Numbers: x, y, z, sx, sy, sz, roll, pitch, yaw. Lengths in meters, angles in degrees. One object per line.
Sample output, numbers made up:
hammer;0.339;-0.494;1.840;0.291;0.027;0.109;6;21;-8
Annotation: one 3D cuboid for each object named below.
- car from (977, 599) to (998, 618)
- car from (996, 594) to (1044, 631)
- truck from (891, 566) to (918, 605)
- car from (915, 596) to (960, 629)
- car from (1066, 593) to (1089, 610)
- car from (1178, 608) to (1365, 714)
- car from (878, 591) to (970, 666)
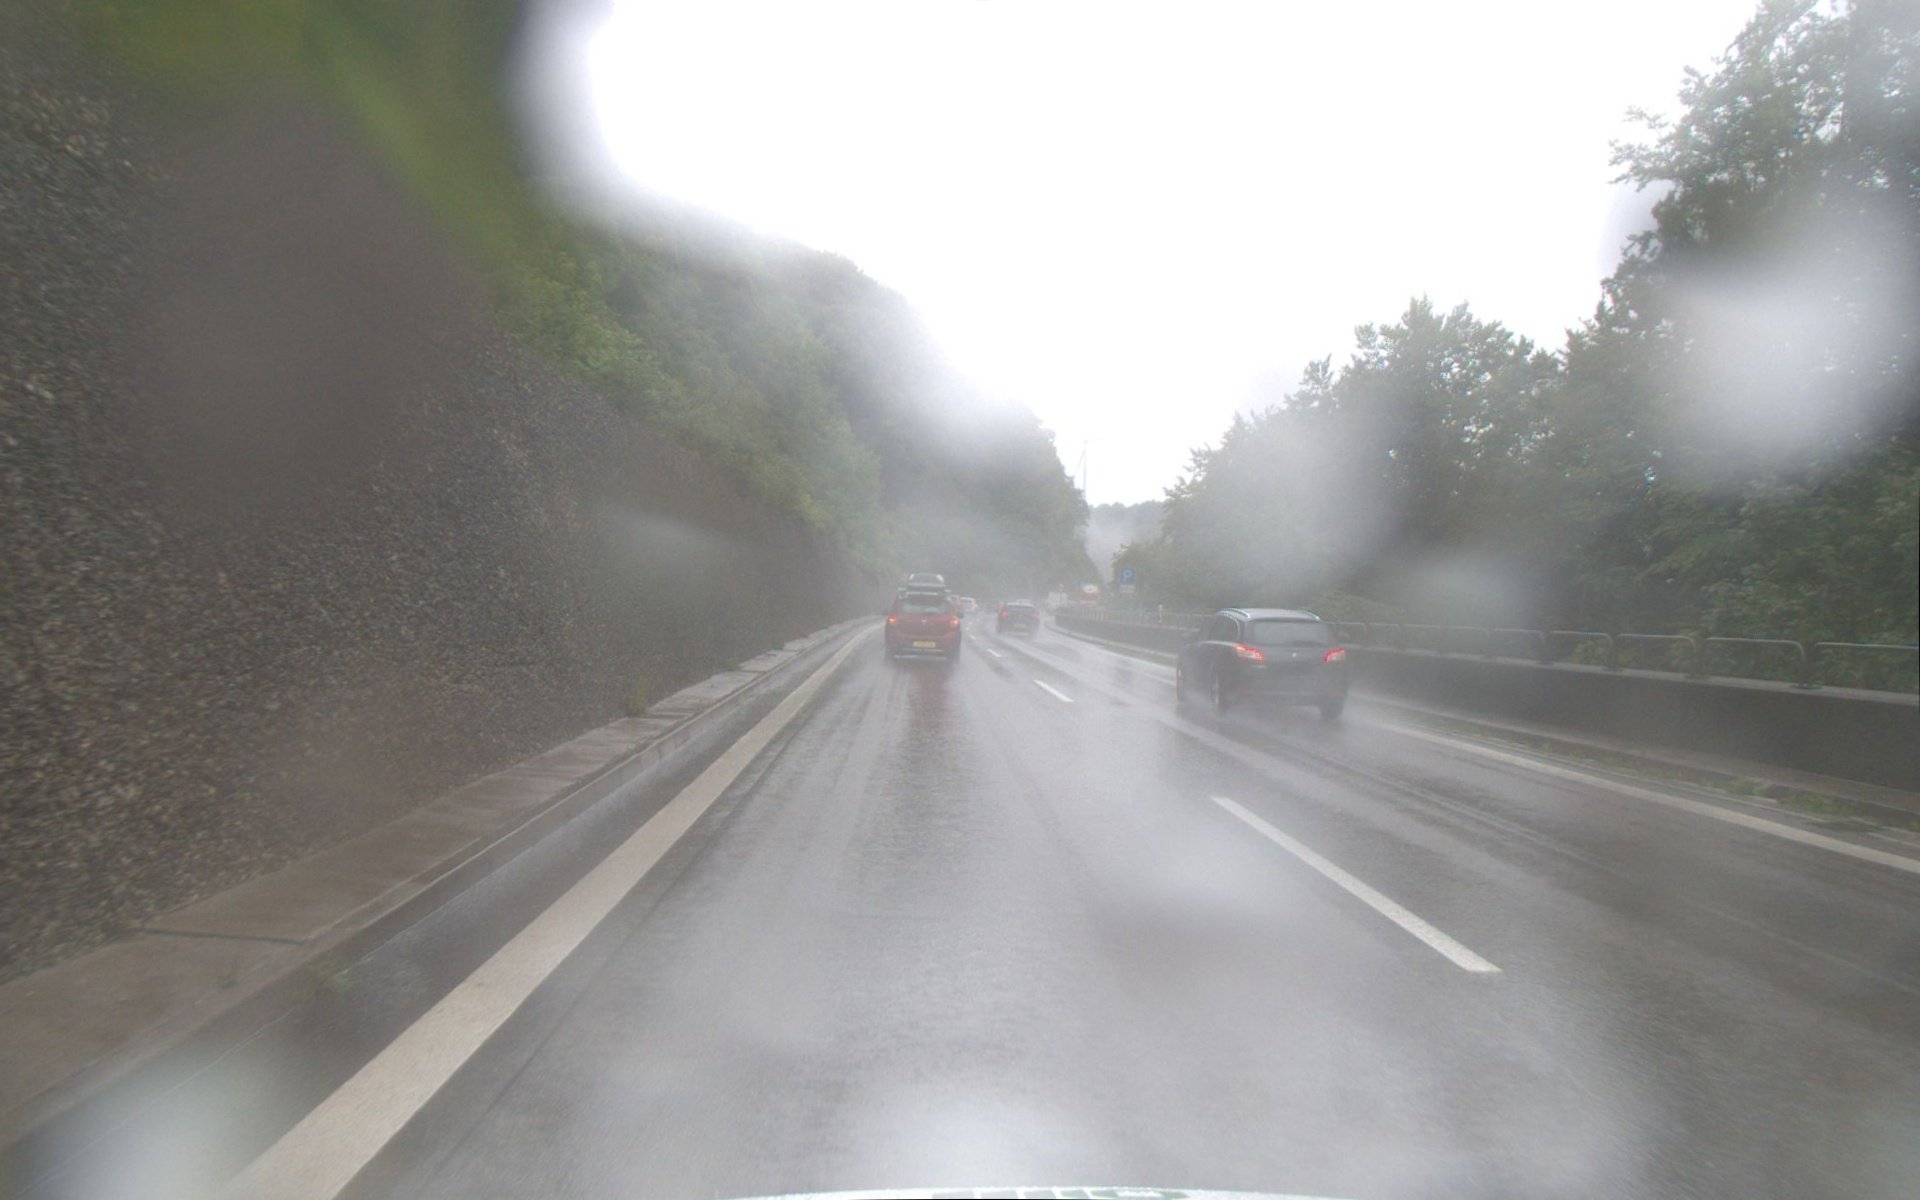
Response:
car;2.619;0.832;159.591;1.953;1.780;4.000;0;0;0
car;2.628;0.524;72.980;1.953;1.579;4.000;0;0;0
truck;-4.111;-1.030;122.722;1.953;2.799;5.584;1;0;-2
car;-1.039;0.538;74.324;1.953;1.378;3.999;2;0;-2
car;14.781;0.169;207.749;2.397;2.049;4.740;1;0;8
car;4.334;0.808;23.626;1.764;1.330;3.998;1;0;-2
car;-0.852;0.641;37.829;1.953;1.579;3.998;-1;-1;-2
